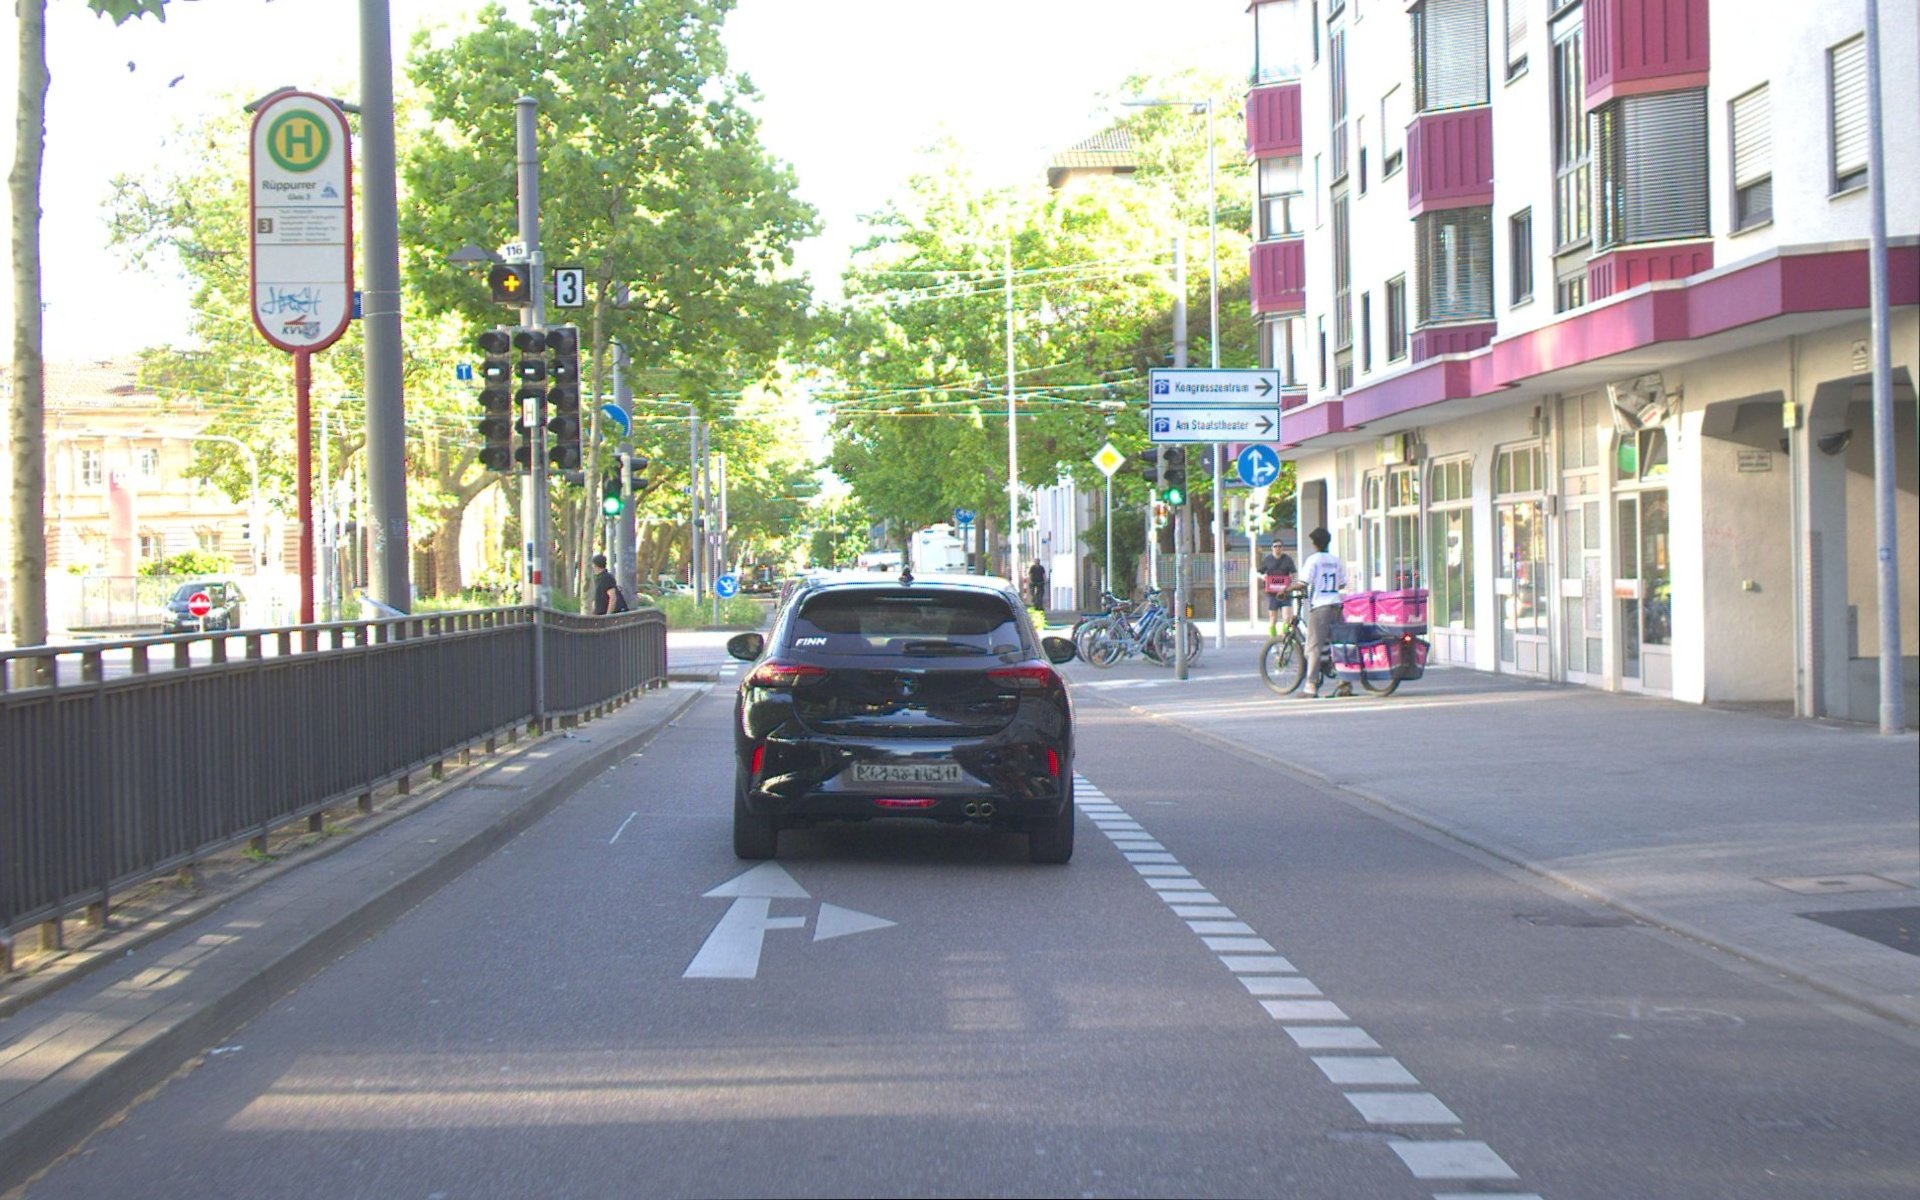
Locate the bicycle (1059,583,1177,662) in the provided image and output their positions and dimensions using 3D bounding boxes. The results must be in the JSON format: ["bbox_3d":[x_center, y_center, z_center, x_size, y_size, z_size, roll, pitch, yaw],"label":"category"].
[{"bbox_3d":[2.467,0.353,53.585,1.802,1.195,0.545,-1,-1,3],"label":"bicycle"}]

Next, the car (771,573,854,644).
[{"bbox_3d":[-3.505,0.182,82.363,1.832,1.617,4.285,1,0,-1],"label":"car"}]

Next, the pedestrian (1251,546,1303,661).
[{"bbox_3d":[5.183,0.051,56.275,0.722,1.851,0.801,-1,0,-2],"label":"pedestrian"}]

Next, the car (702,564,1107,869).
[{"bbox_3d":[-0.301,0.531,18.445,1.905,1.420,4.215,-1,1,-1],"label":"car"}]

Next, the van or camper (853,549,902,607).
[{"bbox_3d":[-4.327,-1.162,181.131,2.486,2.983,5.434,1,0,-1],"label":"van or camper"}]

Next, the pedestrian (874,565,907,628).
[{"bbox_3d":[-2.254,-0.117,111.321,1.036,2.017,1.212,-1,0,-3],"label":"pedestrian"}]

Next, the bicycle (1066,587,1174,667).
[{"bbox_3d":[2.460,0.411,52.839,1.623,1.195,0.496,-1,0,3],"label":"bicycle"}]

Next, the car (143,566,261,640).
[{"bbox_3d":[-21.098,0.059,95.869,1.994,1.941,4.423,-1,1,5],"label":"car"}]

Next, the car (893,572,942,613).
[{"bbox_3d":[-1.674,-0.301,134.598,1.790,1.505,3.874,-3,1,-2],"label":"car"}]

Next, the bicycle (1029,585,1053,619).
[{"bbox_3d":[2.591,0.057,109.749,0.639,1.066,1.951,-1,0,-2],"label":"bicycle"}]

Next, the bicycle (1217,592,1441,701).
[{"bbox_3d":[4.176,0.515,39.093,0.960,1.179,2.597,-1,1,-39],"label":"bicycle"}]

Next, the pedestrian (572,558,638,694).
[{"bbox_3d":[-4.604,0.334,44.637,0.734,1.741,0.712,-1,1,3],"label":"pedestrian"}]

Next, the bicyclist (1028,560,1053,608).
[{"bbox_3d":[2.574,-0.509,109.723,0.749,1.505,0.702,-1,0,-1],"label":"bicyclist"}]

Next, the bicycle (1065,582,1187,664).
[{"bbox_3d":[2.523,0.346,52.269,1.831,1.216,0.496,-1,0,2],"label":"bicycle"}]

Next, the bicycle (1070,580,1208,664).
[{"bbox_3d":[2.671,0.324,51.391,1.976,1.195,0.591,-1,0,-6],"label":"bicycle"}]

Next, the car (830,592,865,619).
[{"bbox_3d":[-6.419,0.305,195.808,1.905,1.420,4.215,-1,1,-1],"label":"car"}]

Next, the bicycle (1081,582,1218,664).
[{"bbox_3d":[2.800,0.337,50.776,1.939,1.166,0.572,-1,0,-4],"label":"bicycle"}]

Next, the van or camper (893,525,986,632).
[{"bbox_3d":[-0.681,-0.678,107.887,2.375,3.114,7.551,-4,1,-3],"label":"van or camper"}]

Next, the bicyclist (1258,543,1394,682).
[{"bbox_3d":[4.162,0.135,39.096,1.057,1.535,1.078,-1,0,-39],"label":"bicyclist"}]
